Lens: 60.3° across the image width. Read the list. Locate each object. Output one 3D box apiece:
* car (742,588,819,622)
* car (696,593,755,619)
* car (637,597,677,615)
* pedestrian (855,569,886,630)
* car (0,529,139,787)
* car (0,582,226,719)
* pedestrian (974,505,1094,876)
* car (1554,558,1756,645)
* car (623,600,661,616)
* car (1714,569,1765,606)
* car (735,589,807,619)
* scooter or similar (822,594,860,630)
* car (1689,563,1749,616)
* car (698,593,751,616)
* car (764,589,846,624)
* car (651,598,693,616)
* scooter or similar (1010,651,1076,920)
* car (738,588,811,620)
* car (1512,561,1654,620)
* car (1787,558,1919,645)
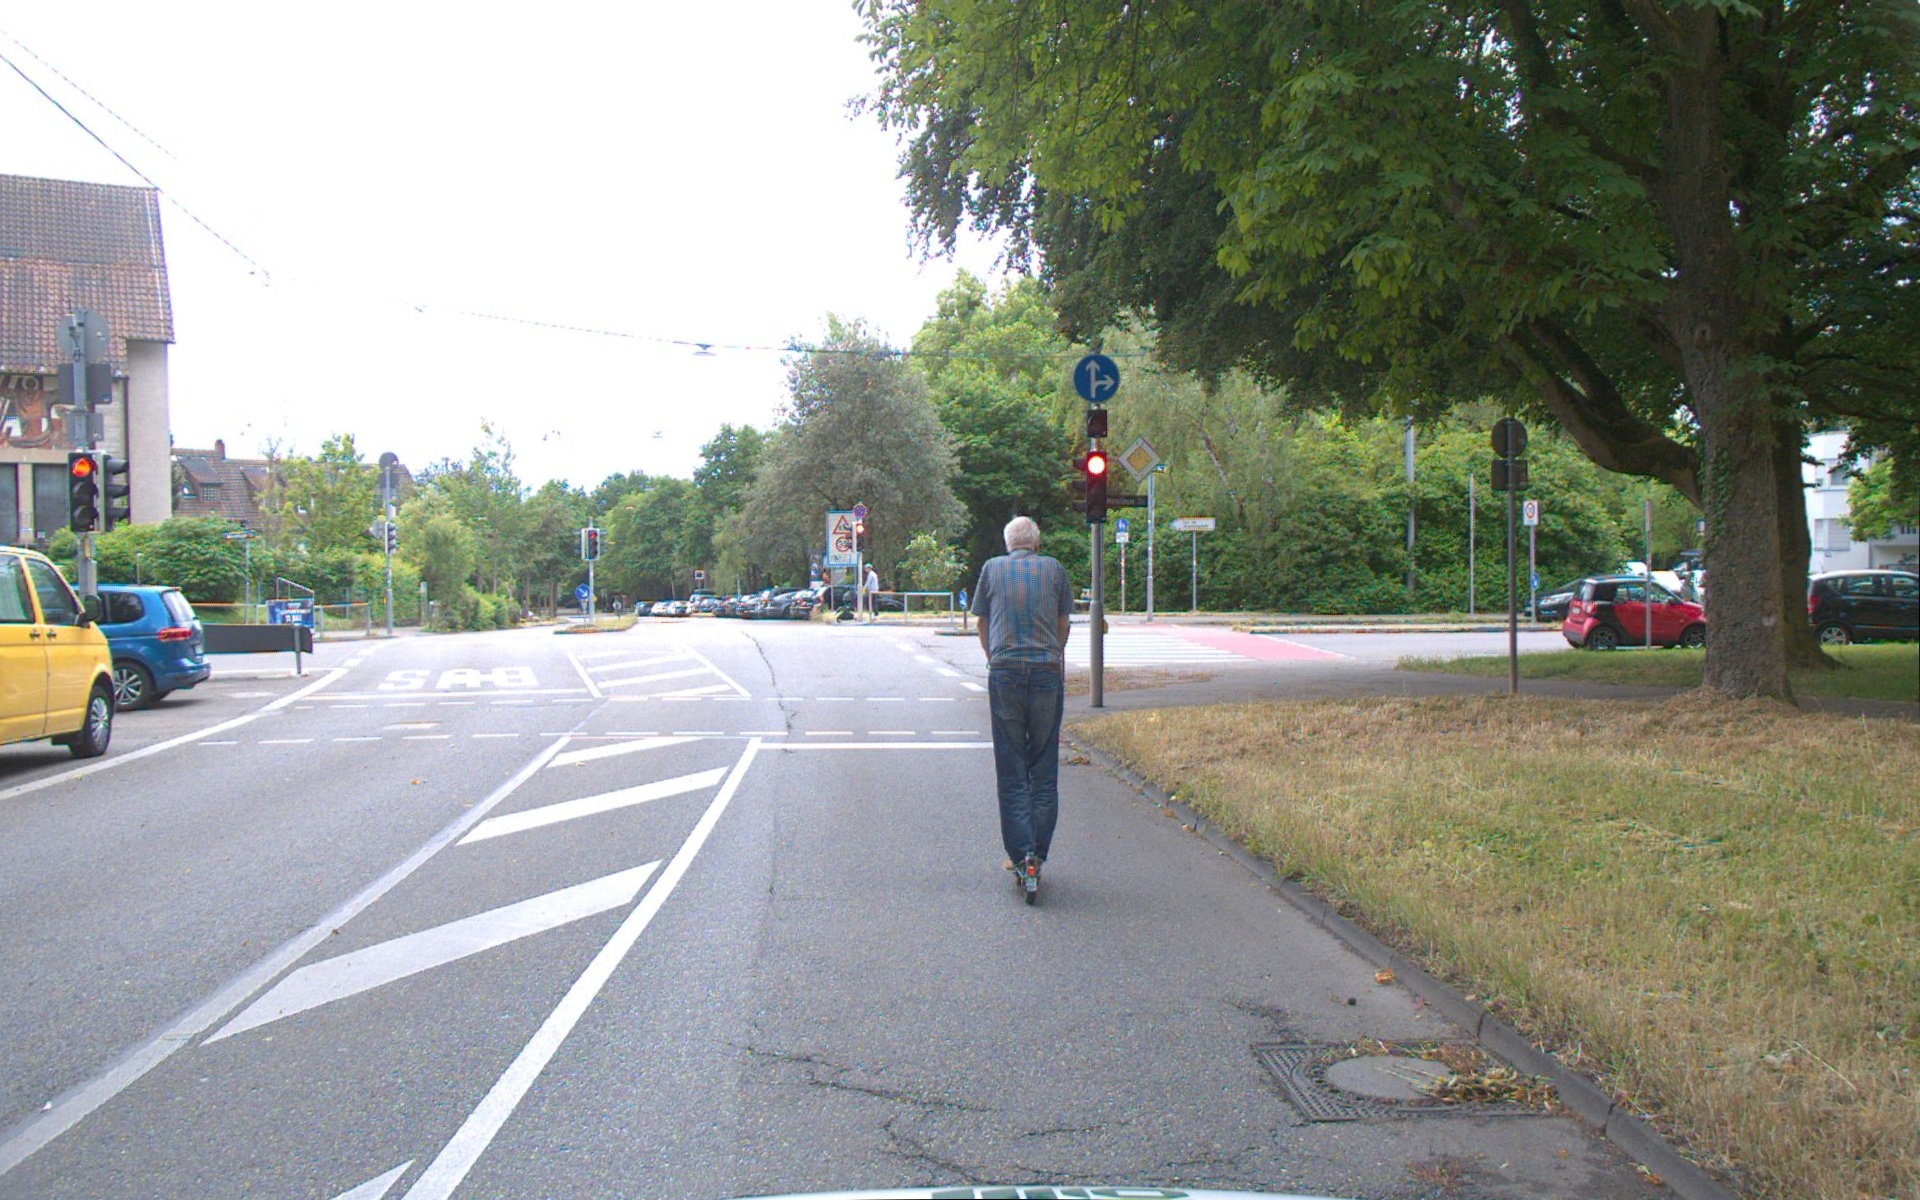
[{"bbox_3d":[-9.680,0.267,89.190,3.793,1.639,1.715,-2,1,-25],"label":"car"},{"bbox_3d":[-16.501,0.396,116.525,3.793,1.639,1.715,-2,1,-25],"label":"car"},{"bbox_3d":[-31.678,0.632,172.872,3.793,1.639,1.715,-2,1,-25],"label":"car"},{"bbox_3d":[-2.834,-0.027,52.281,0.869,1.895,0.572,-1,0,-15],"label":"pedestrian"},{"bbox_3d":[-8.680,0.473,13.873,1.848,2.049,4.557,-1,1,-9],"label":"car"},{"bbox_3d":[-11.954,0.655,21.762,3.925,1.639,1.809,-2,1,-18],"label":"car"},{"bbox_3d":[0.373,0.452,8.498,0.561,1.845,0.420,-1,0,-1],"label":"pedestrian"},{"bbox_3d":[14.389,0.012,34.372,3.445,1.639,1.729,-2,1,3],"label":"car"},{"bbox_3d":[-35.047,0.872,182.352,3.793,1.639,1.715,-2,1,-25],"label":"car"},{"bbox_3d":[37.214,-0.620,79.064,1.686,1.639,3.856,-2,1,18],"label":"car"},{"bbox_3d":[-11.081,0.230,96.865,3.793,1.639,1.715,-2,1,-25],"label":"car"},{"bbox_3d":[-3.759,0.379,52.042,1.089,1.100,0.575,-1,0,-15],"label":"scooter or similar"},{"bbox_3d":[25.087,-0.365,54.608,1.688,1.639,3.851,-2,1,26],"label":"car"},{"bbox_3d":[-18.447,0.320,129.423,3.793,1.639,1.715,-2,1,-25],"label":"car"},{"bbox_3d":[-7.933,0.312,84.680,3.794,1.639,1.714,-2,1,-26],"label":"car"},{"bbox_3d":[-28.882,0.665,165.911,3.793,1.639,1.715,-2,1,-25],"label":"car"},{"bbox_3d":[0.404,0.882,8.287,0.276,1.199,1.177,-1,0,1],"label":"scooter or similar"},{"bbox_3d":[-10.588,0.231,94.471,3.793,1.639,1.715,-2,1,-25],"label":"car"},{"bbox_3d":[17.984,-0.270,47.860,3.444,1.557,1.729,-2,1,4],"label":"car"},{"bbox_3d":[18.723,0.002,33.086,3.764,1.639,1.728,-2,1,24],"label":"car"}]
